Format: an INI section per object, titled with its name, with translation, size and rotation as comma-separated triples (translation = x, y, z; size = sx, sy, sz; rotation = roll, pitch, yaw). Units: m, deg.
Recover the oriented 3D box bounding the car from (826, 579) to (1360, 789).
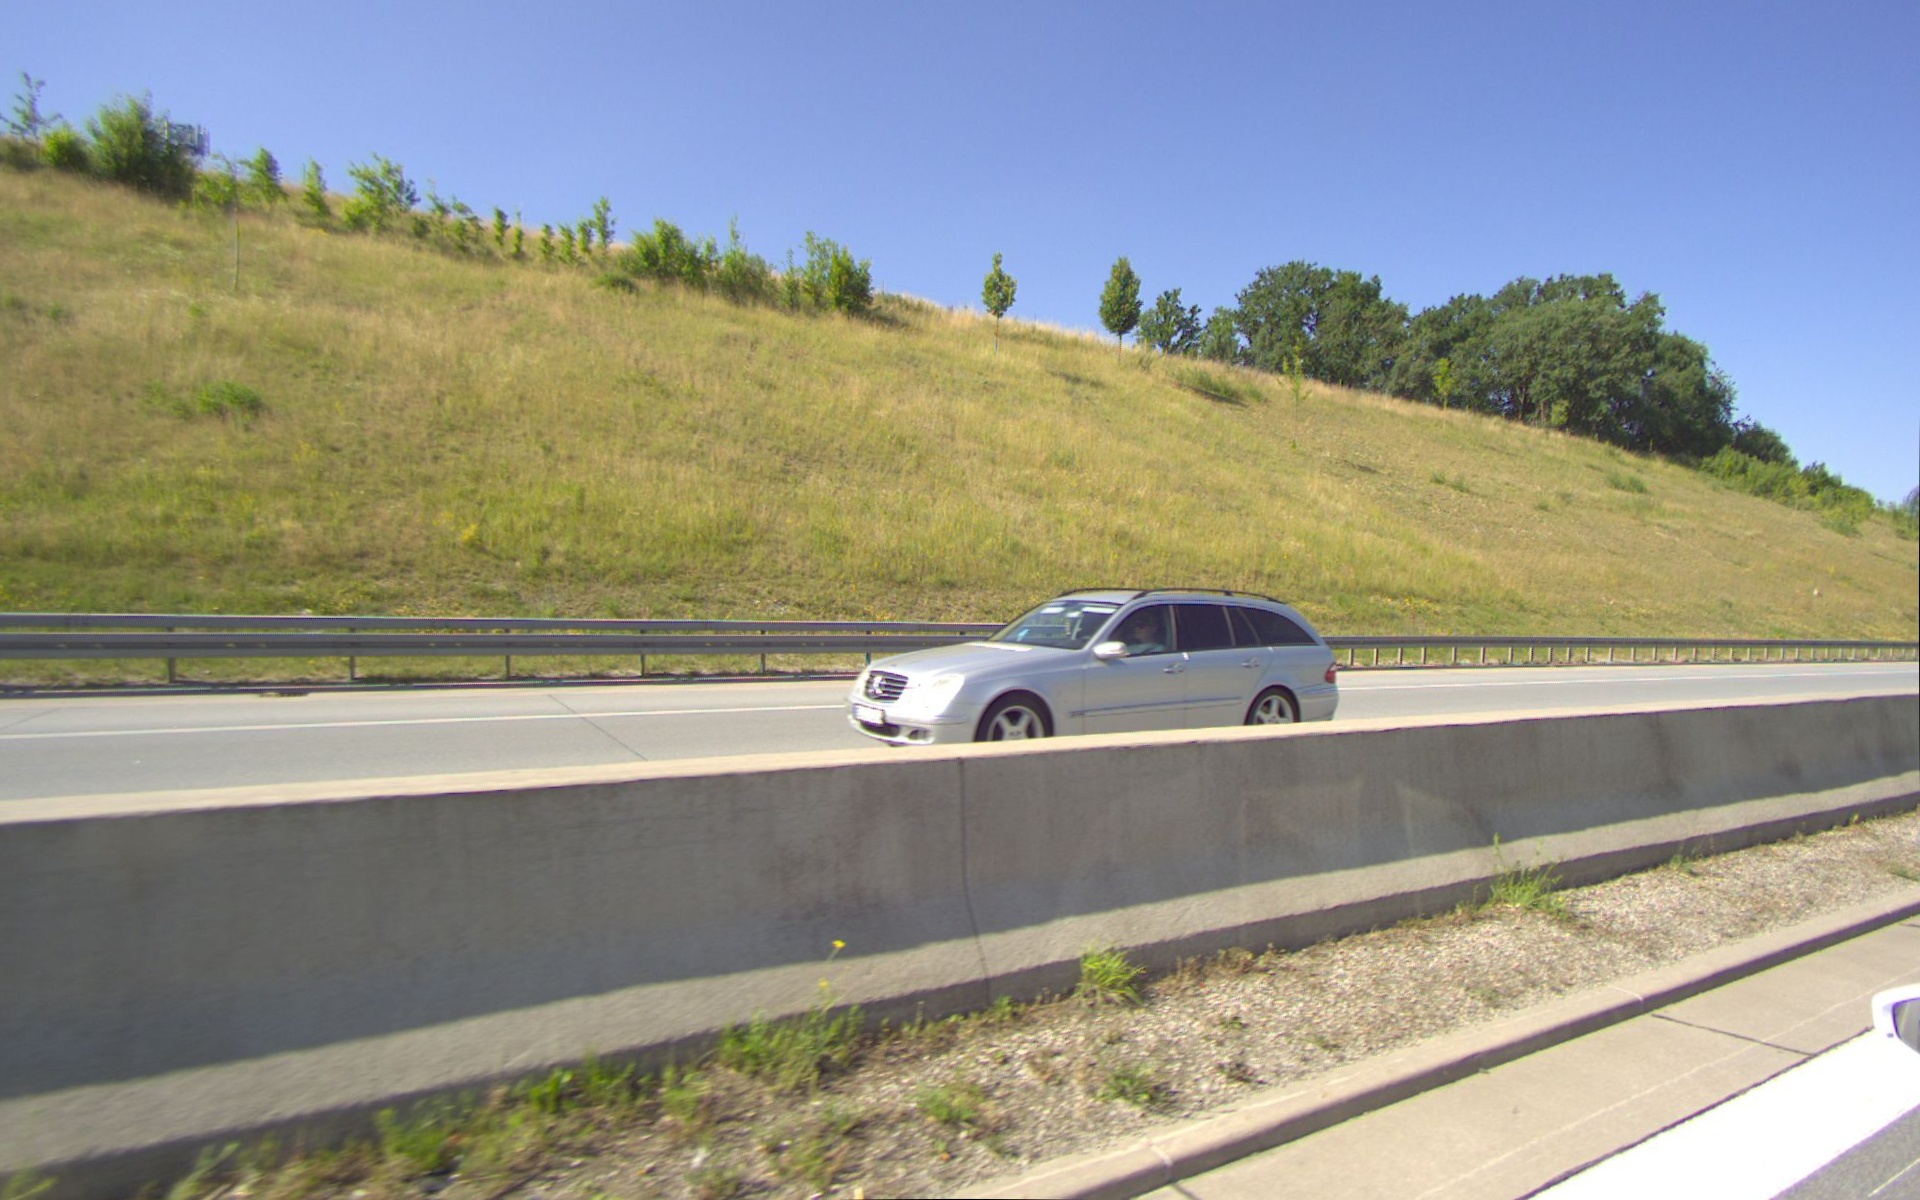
[car]
translation = 1.316, 0.624, 9.095
size = 4.674, 1.481, 1.844
rotation = 1, 0, -32
